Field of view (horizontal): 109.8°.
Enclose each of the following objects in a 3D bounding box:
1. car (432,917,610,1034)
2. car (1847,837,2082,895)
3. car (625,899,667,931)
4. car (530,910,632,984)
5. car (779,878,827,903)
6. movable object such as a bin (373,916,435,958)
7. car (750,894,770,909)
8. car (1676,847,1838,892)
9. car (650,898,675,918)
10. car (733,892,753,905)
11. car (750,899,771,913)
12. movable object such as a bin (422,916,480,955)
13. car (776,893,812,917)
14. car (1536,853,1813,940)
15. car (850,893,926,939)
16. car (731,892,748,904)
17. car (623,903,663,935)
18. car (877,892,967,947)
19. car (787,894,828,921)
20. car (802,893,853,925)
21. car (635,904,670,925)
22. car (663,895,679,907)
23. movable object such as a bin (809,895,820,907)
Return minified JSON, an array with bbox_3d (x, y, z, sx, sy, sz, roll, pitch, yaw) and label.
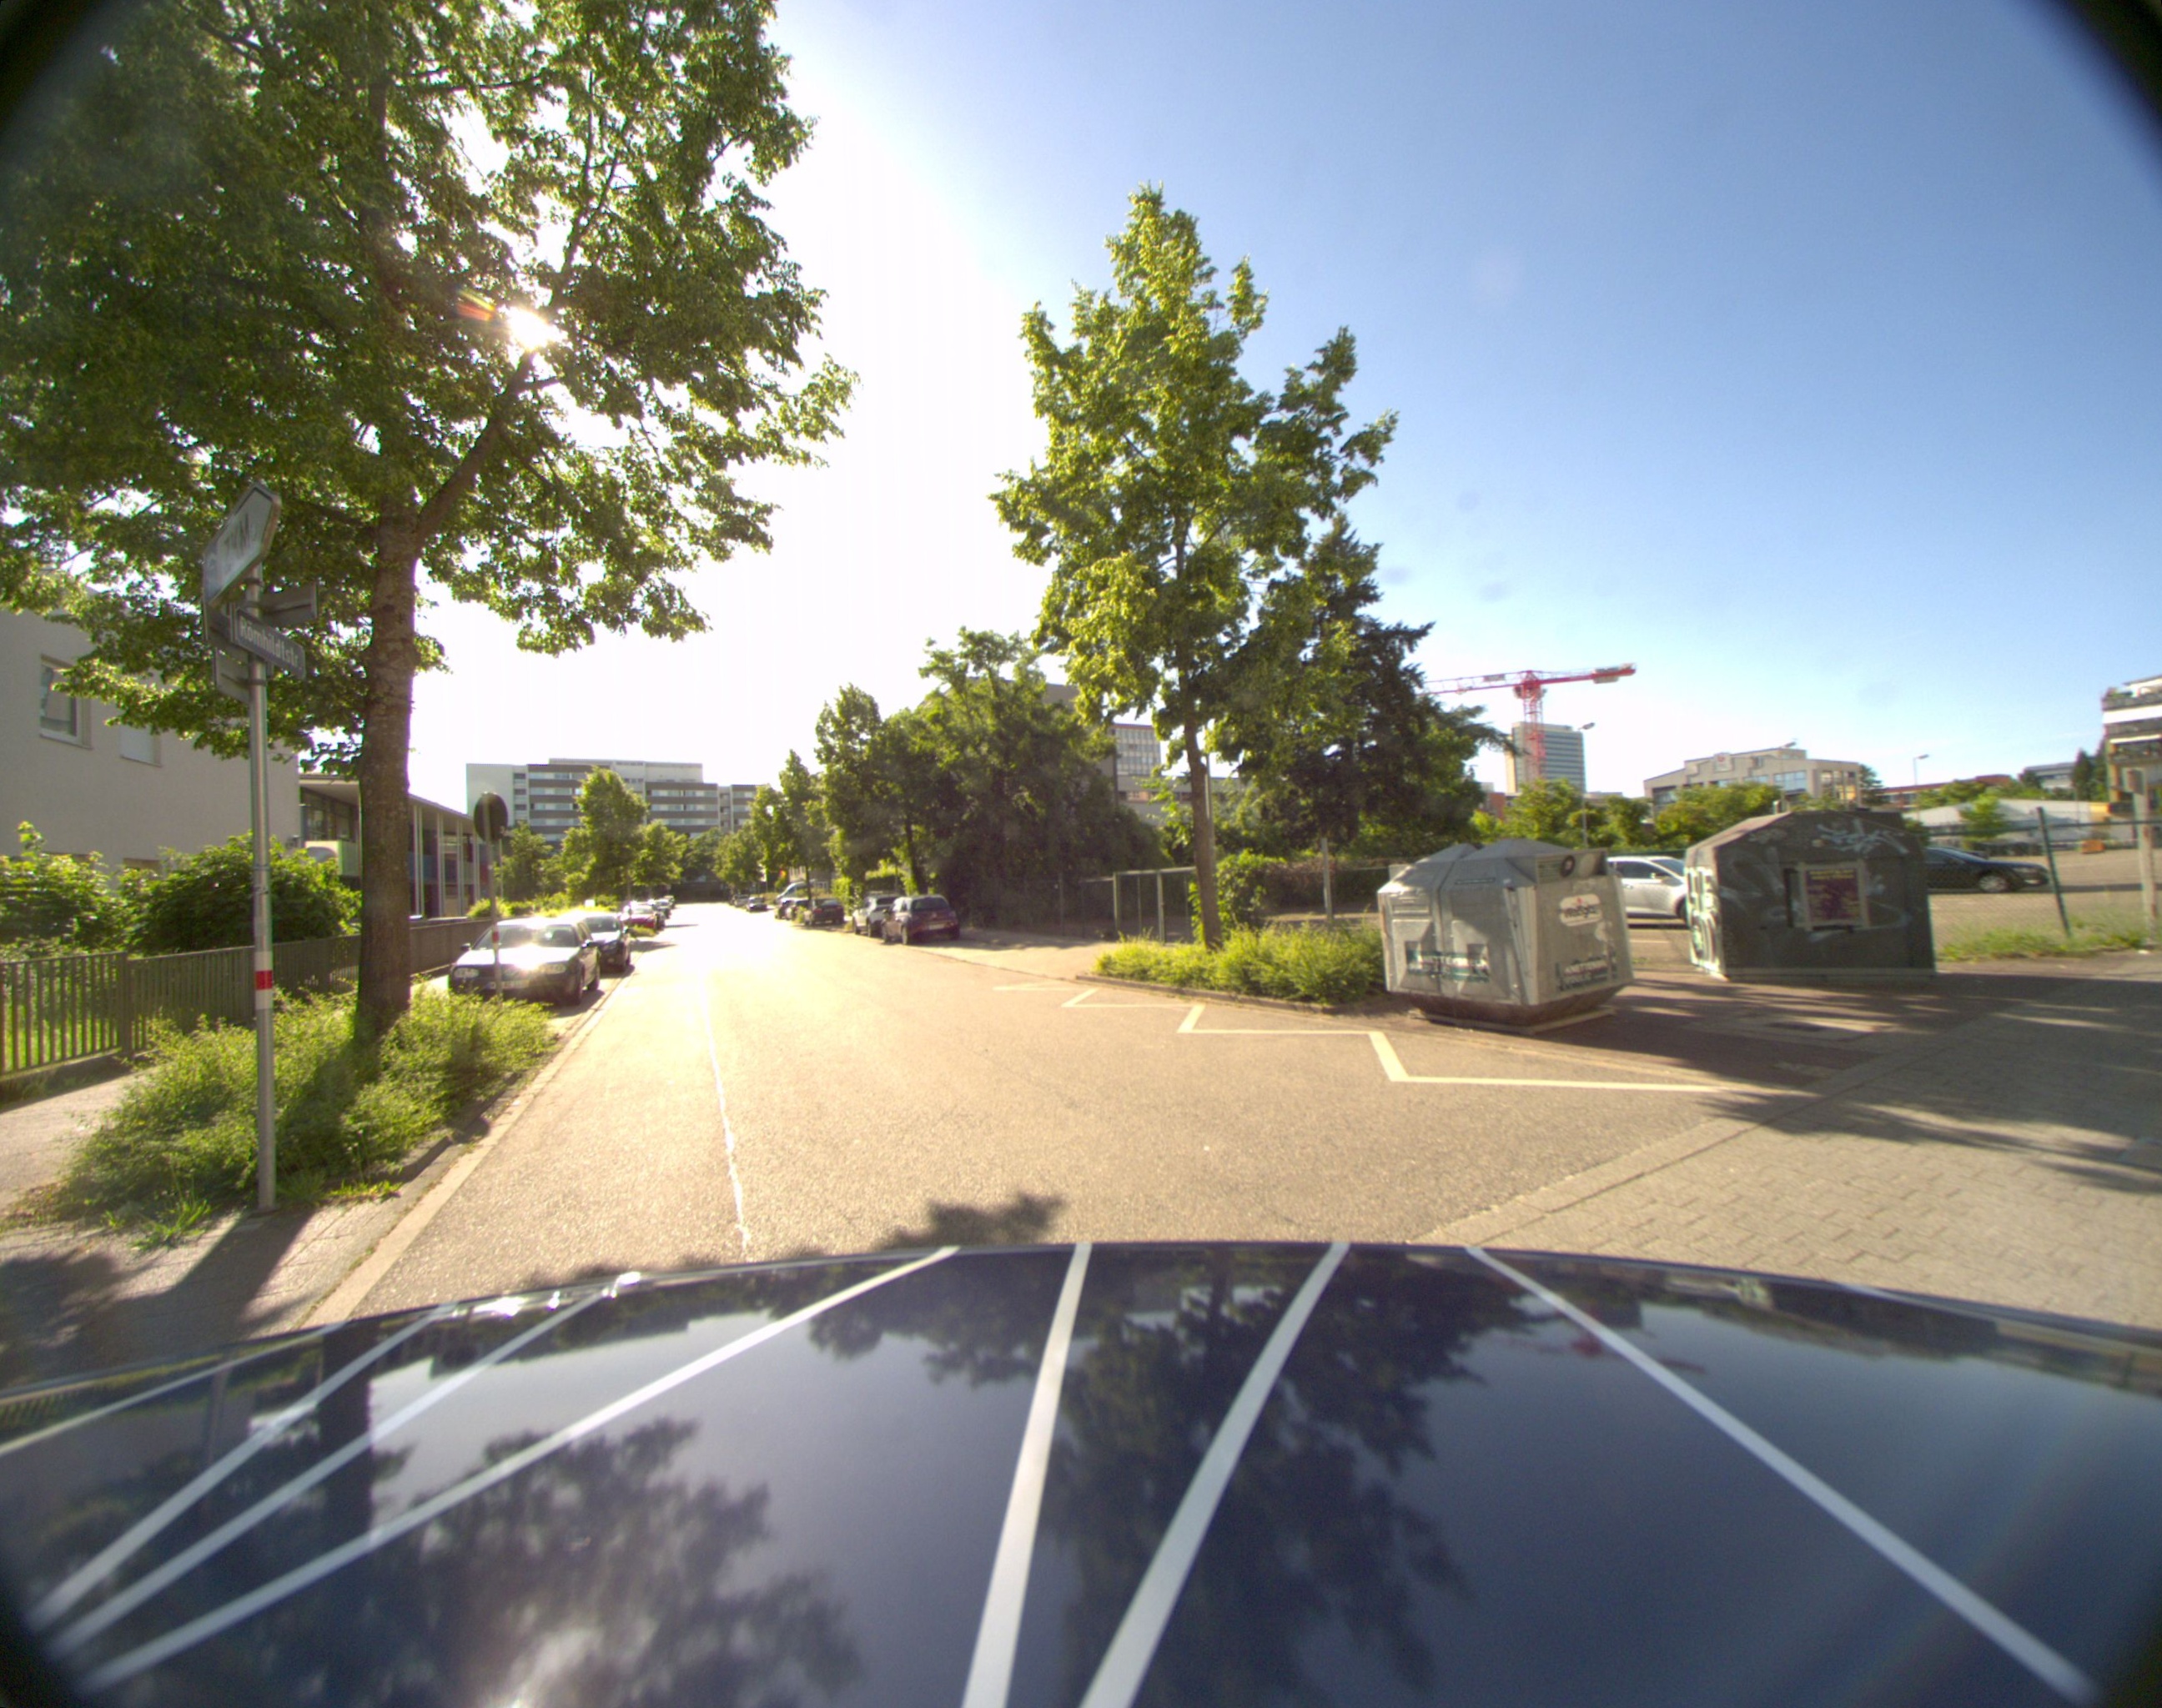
[{"bbox_3d":[-9.638,1.967,13.452,1.754,1.413,4.416,-3,-1,-27],"label":"car"},{"bbox_3d":[26.677,0.419,23.146,1.900,1.550,4.236,-2,-2,-25],"label":"car"},{"bbox_3d":[-25.904,3.580,45.324,1.909,1.672,4.403,0,-2,-27],"label":"car"},{"bbox_3d":[-12.447,2.224,19.122,1.792,1.506,3.993,-1,-2,-29],"label":"car"},{"bbox_3d":[-33.962,4.440,92.877,5.164,2.884,2.010,-2,-1,-31],"label":"car"},{"bbox_3d":[-25.822,3.134,29.023,1.372,1.439,1.628,-2,-2,-26],"label":"movable object such as a bin"},{"bbox_3d":[-34.147,5.025,80.853,1.634,1.515,3.556,-2,-2,-28],"label":"car"},{"bbox_3d":[26.166,0.654,29.570,1.900,1.550,4.235,-2,-2,-28],"label":"car"},{"bbox_3d":[-37.220,4.775,67.646,1.827,1.637,4.480,2,-3,-27],"label":"car"},{"bbox_3d":[-43.564,5.708,97.859,1.799,1.590,3.882,-3,-1,-30],"label":"car"},{"bbox_3d":[-31.821,5.176,75.476,1.634,1.240,3.556,-2,-2,-27],"label":"car"},{"bbox_3d":[-24.524,3.140,29.638,1.372,1.349,1.628,-2,-2,-26],"label":"movable object such as a bin"},{"bbox_3d":[-20.598,3.629,54.477,1.848,1.465,4.092,-4,-1,-27],"label":"car"},{"bbox_3d":[13.053,0.931,17.085,2.002,1.599,4.419,-2,-2,-25],"label":"car"},{"bbox_3d":[-7.423,2.298,29.017,1.848,1.465,3.994,-4,-1,-27],"label":"car"},{"bbox_3d":[-47.641,6.065,105.923,1.799,1.509,3.882,-3,-1,-30],"label":"car"},{"bbox_3d":[-23.198,3.424,40.316,1.683,1.494,3.839,-2,-2,-28],"label":"car"},{"bbox_3d":[-5.152,2.034,24.296,1.725,1.465,3.539,-4,-1,-29],"label":"car"},{"bbox_3d":[-17.762,3.420,49.225,1.848,1.465,4.020,-4,-1,-27],"label":"car"},{"bbox_3d":[-13.631,2.913,40.672,1.848,1.465,4.352,-4,-1,-27],"label":"car"},{"bbox_3d":[-29.159,4.074,51.591,1.972,1.311,4.766,1,-3,-31],"label":"car"},{"bbox_3d":[-52.854,6.034,97.981,1.648,1.458,3.696,2,-2,-27],"label":"car"},{"bbox_3d":[-26.456,4.652,75.492,0.864,1.031,0.676,-5,0,-30],"label":"movable object such as a bin"}]
